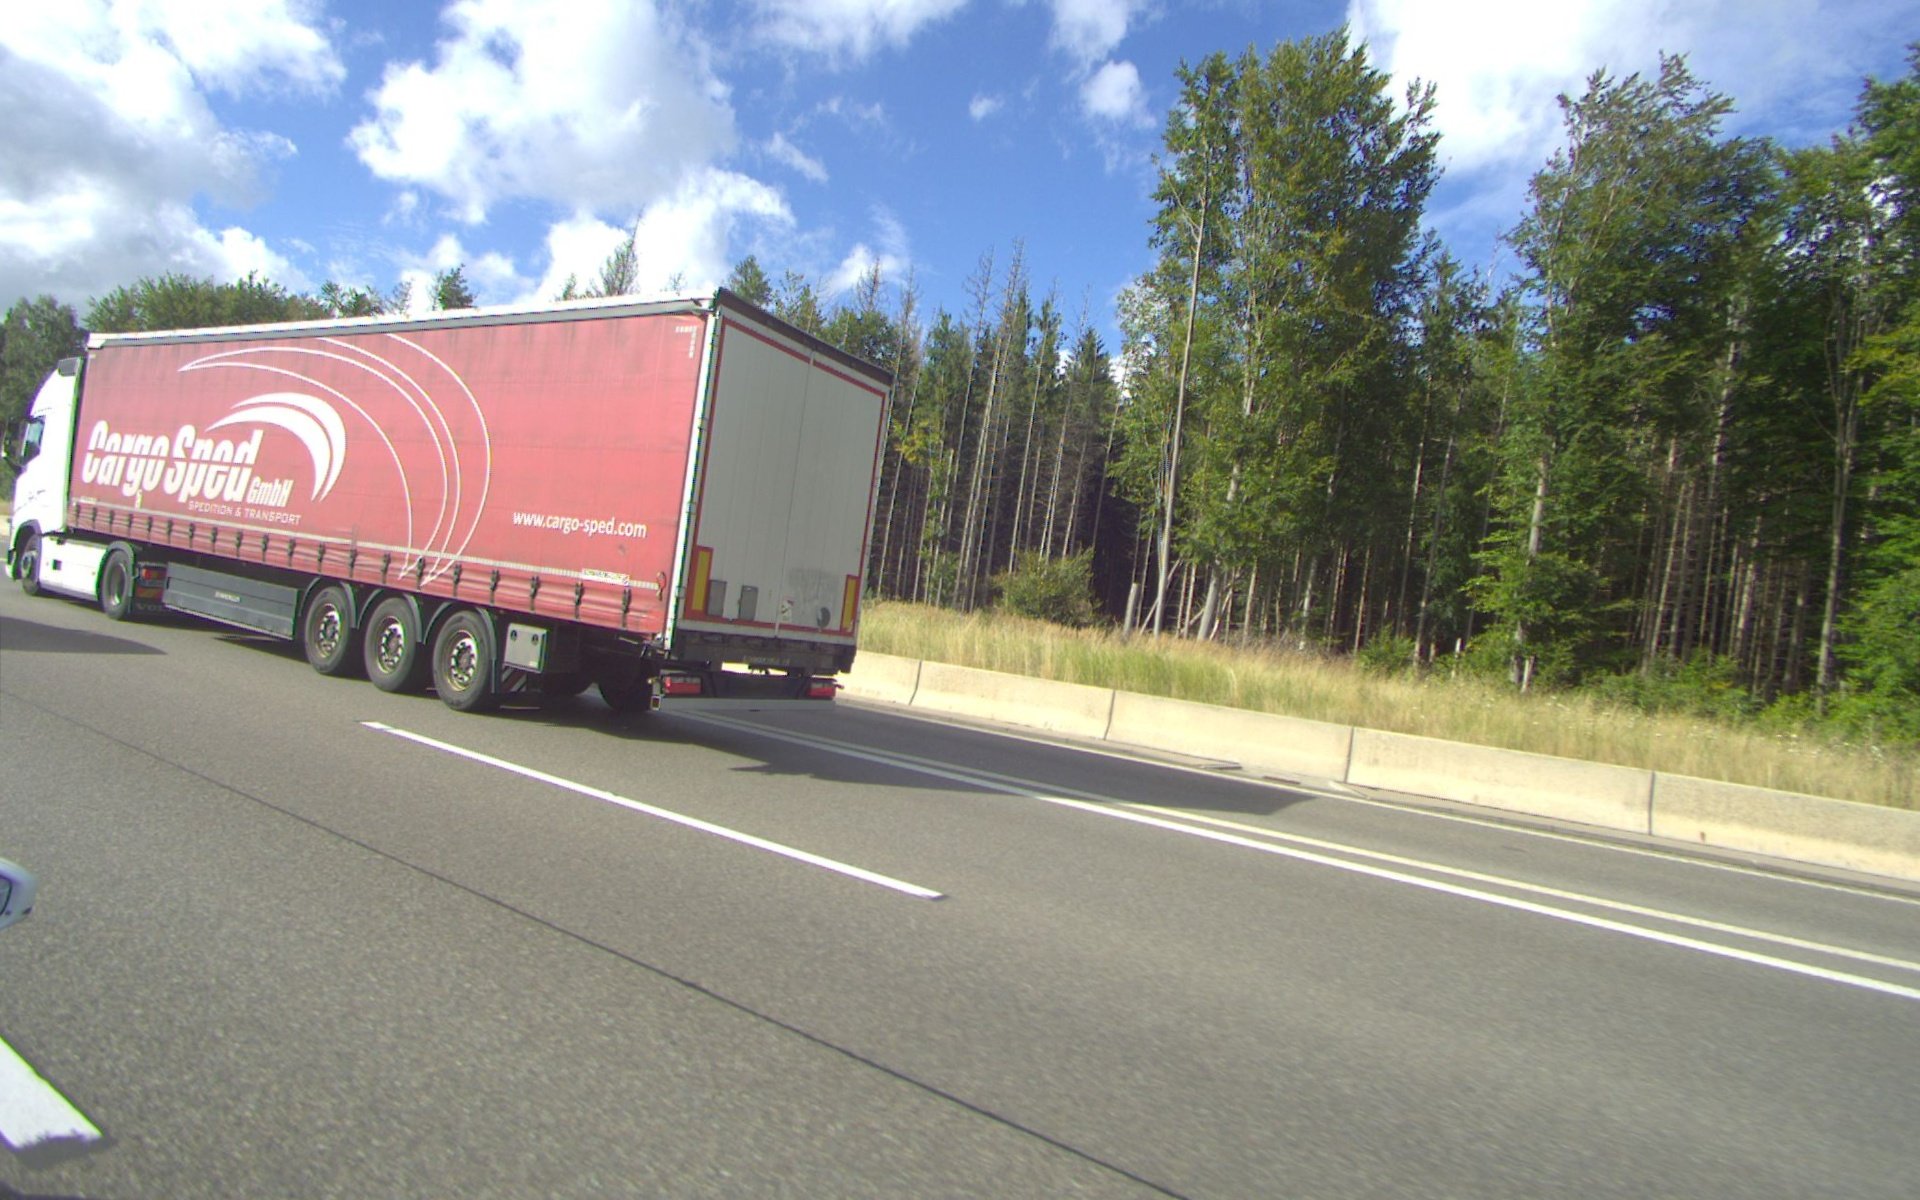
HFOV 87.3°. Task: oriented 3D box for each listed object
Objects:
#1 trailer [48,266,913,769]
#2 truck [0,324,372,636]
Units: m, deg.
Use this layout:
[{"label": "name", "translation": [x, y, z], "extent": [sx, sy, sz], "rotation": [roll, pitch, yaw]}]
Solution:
[{"label": "trailer", "translation": [-7.143, -1.216, 12.859], "extent": [13.485, 4.093, 2.778], "rotation": [7, -1, 32]}, {"label": "truck", "translation": [-12.714, -1.870, 16.319], "extent": [5.677, 4.093, 2.778], "rotation": [7, -1, 32]}]
